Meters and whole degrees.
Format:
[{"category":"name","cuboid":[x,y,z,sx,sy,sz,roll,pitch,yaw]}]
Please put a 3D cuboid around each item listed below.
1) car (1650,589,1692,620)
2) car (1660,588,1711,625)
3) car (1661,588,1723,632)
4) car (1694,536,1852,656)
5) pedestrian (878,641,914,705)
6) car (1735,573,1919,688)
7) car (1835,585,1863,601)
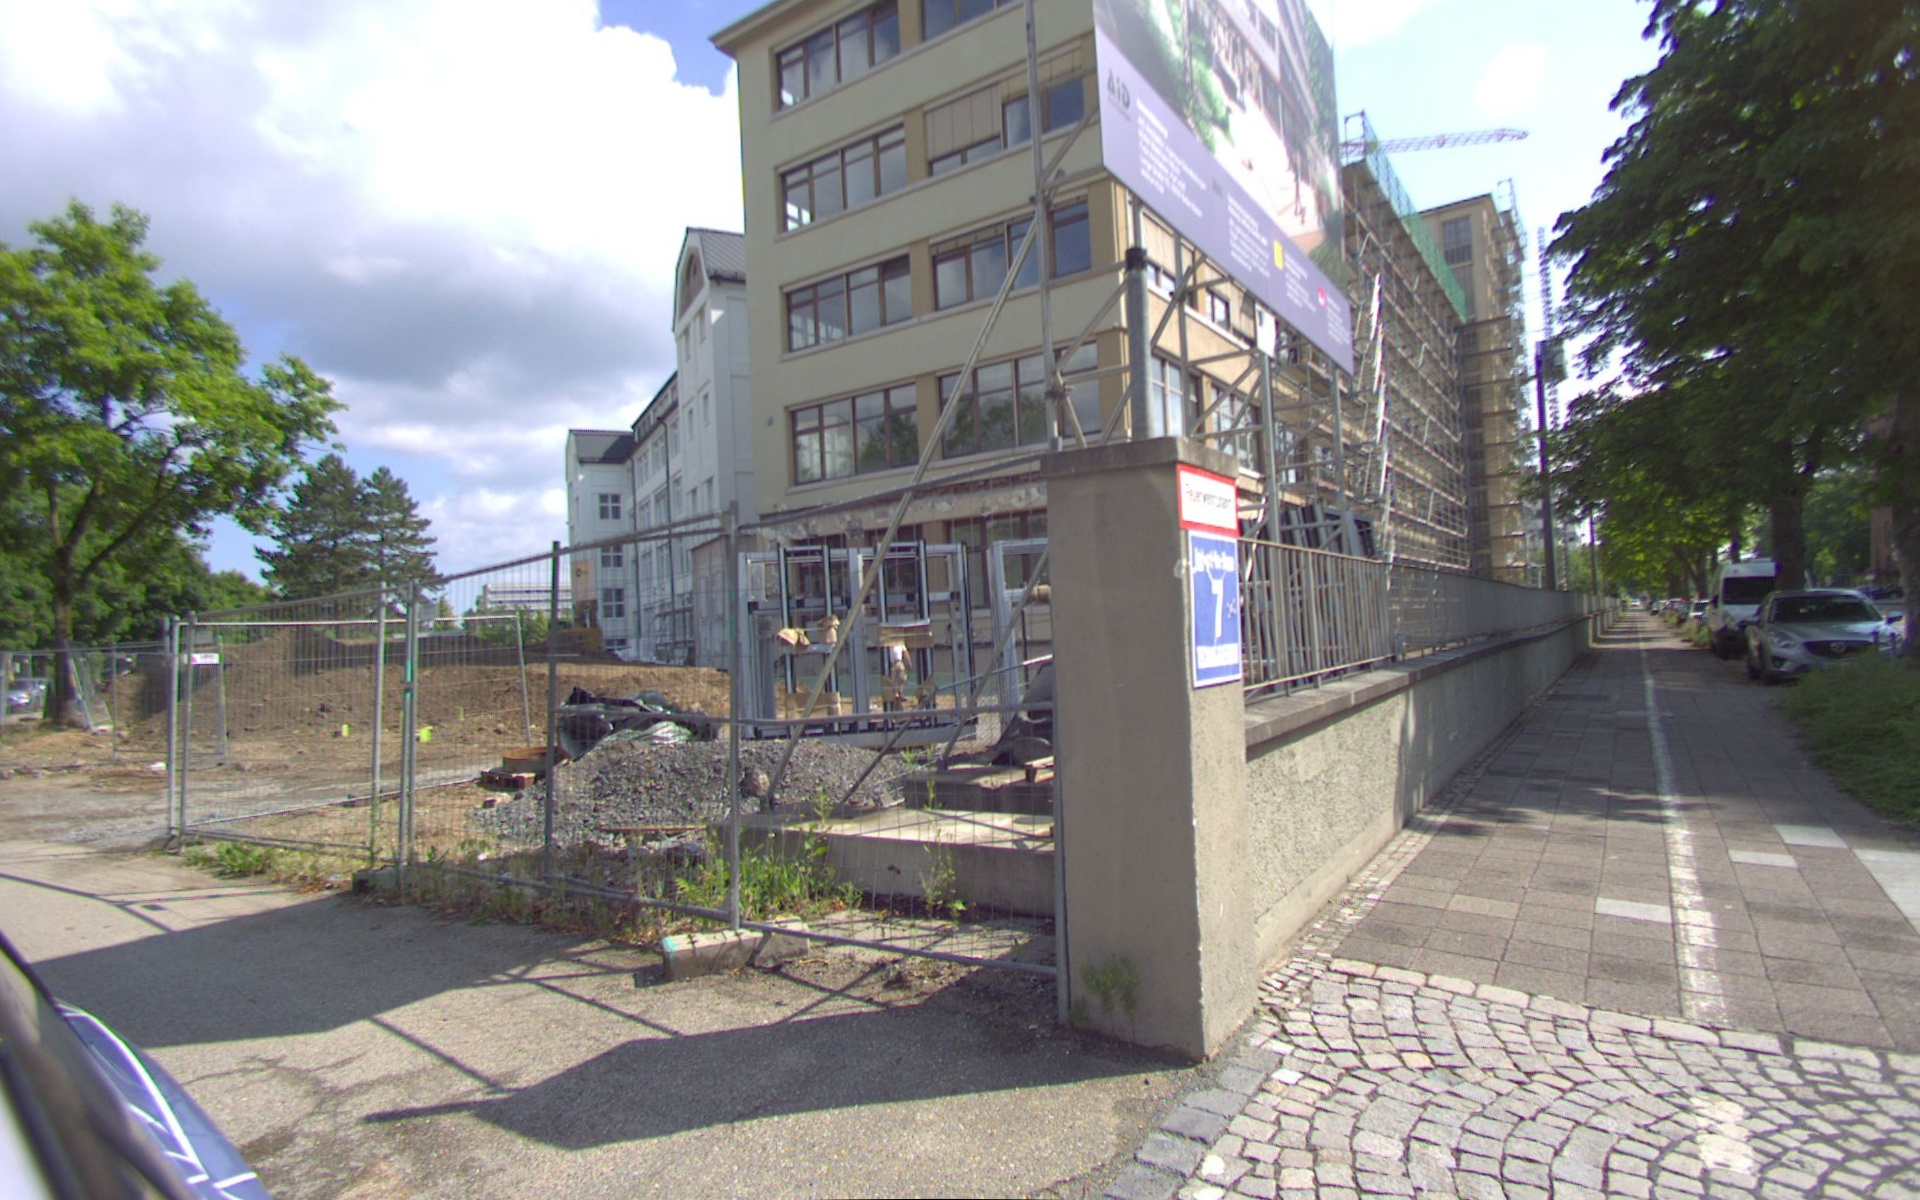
[{"category":"car","cuboid":[42.305,0.248,60.280,1.746,1.618,4.189,-8,-4,33]},{"category":"car","cuboid":[36.706,0.324,51.278,1.746,1.618,4.189,-8,-4,33]},{"category":"car","cuboid":[30.825,0.410,42.707,1.746,1.618,4.189,-8,-4,33]},{"category":"car","cuboid":[20.683,-0.073,26.029,2.332,2.579,5.330,-8,-4,33]},{"category":"pedestrian","cuboid":[-1.403,1.594,22.170,0.455,1.322,0.637,-5,-1,-26]},{"category":"car","cuboid":[14.813,0.488,17.483,1.746,1.618,4.189,-8,-4,33]},{"category":"car","cuboid":[90.277,-0.693,102.757,1.626,1.586,3.906,-1,0,34]}]
